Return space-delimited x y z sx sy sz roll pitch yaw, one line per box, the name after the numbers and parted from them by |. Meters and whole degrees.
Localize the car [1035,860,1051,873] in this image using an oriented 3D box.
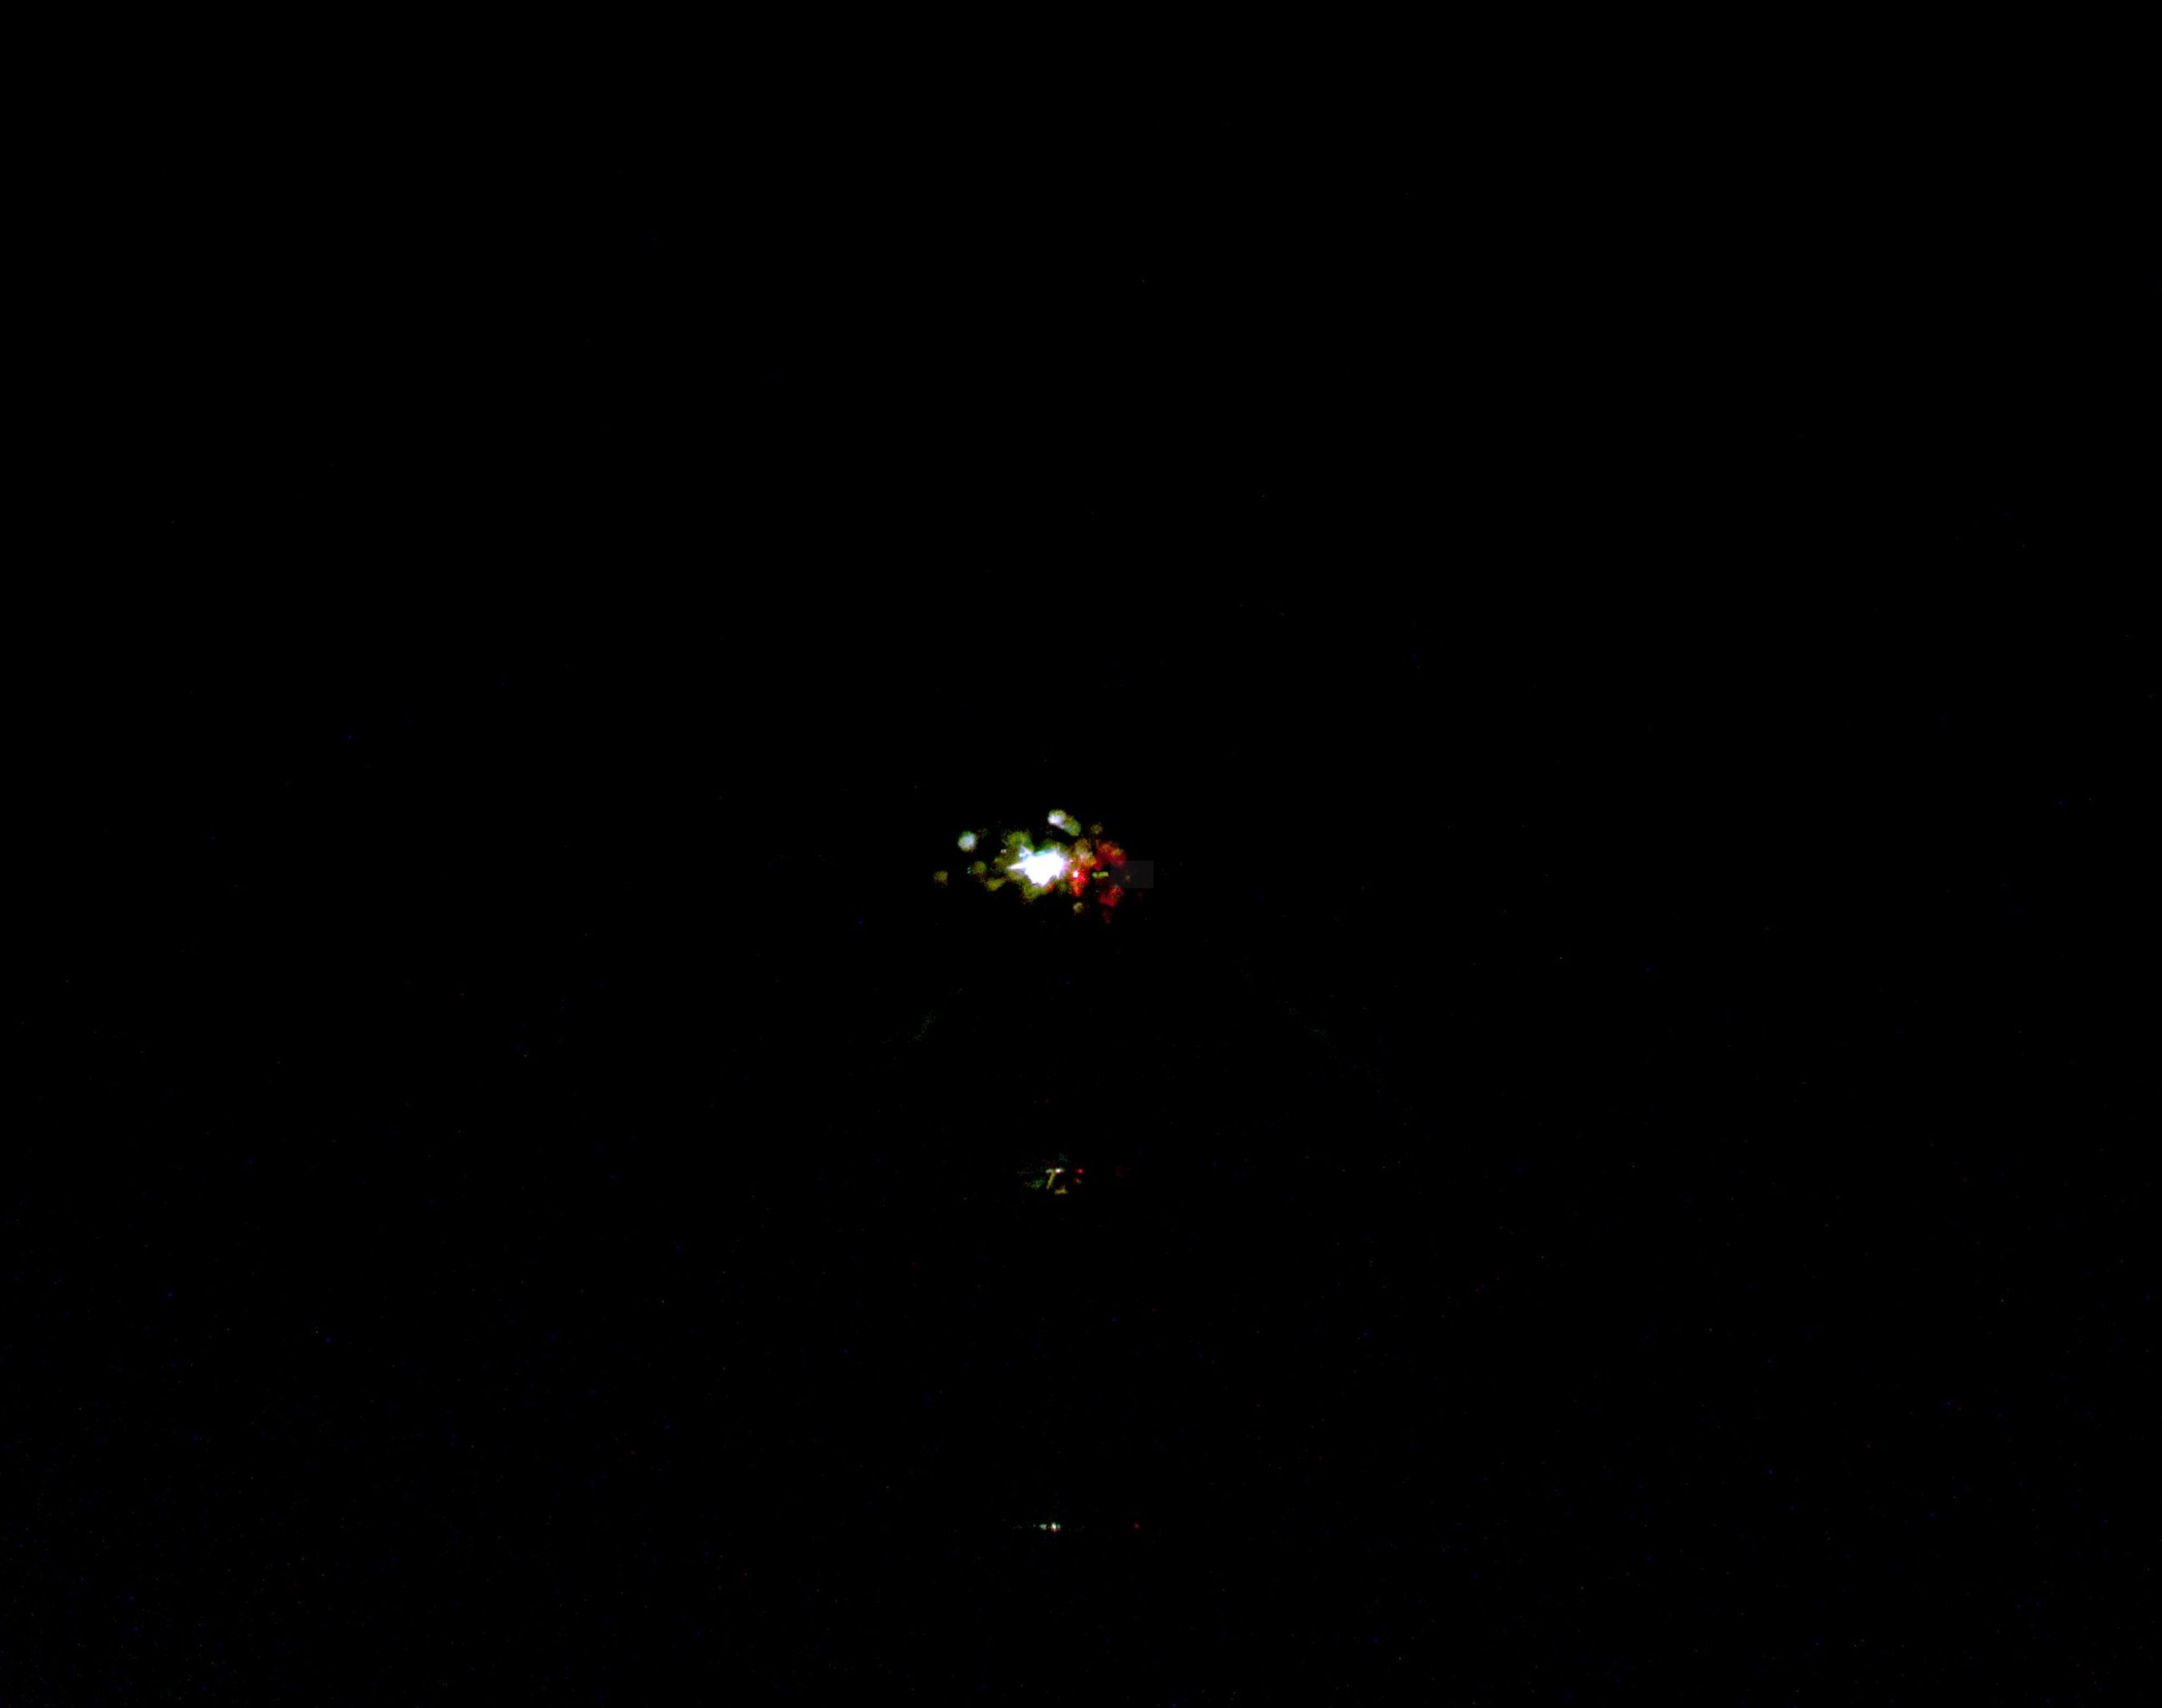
-4.818 1.579 103.445 1.838 1.505 3.709 -1 -1 0 | car

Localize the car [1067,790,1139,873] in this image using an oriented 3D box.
0.712 -0.766 27.837 2.174 2.557 4.508 2 1 0 | car
